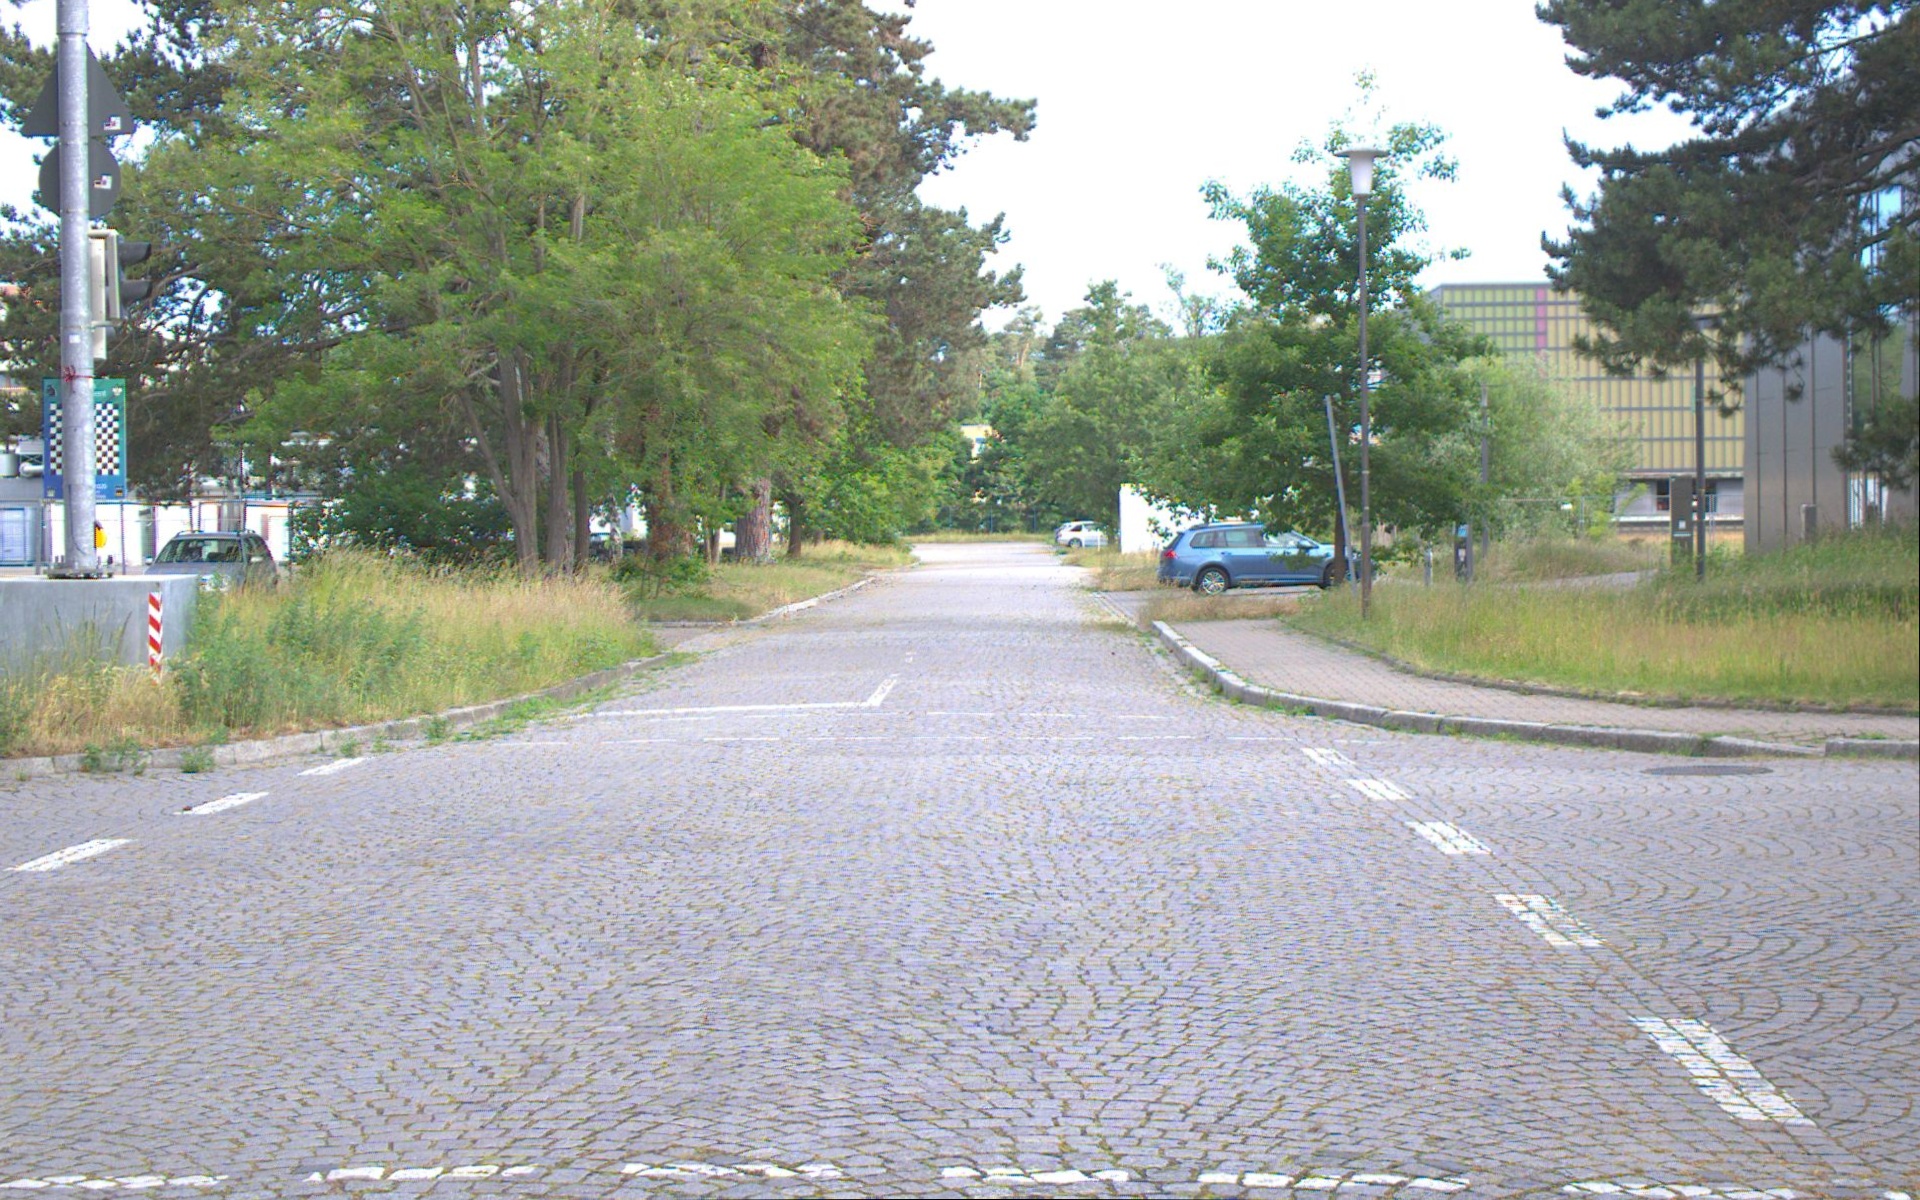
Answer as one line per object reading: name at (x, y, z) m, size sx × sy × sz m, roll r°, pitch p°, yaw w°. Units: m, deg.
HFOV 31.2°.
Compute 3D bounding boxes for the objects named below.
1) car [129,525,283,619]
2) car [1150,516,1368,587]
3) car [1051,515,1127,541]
car at (-12.489, -0.496, 57.142) m, size 1.613 × 1.482 × 4.000 m, roll 0°, pitch 1°, yaw 1°
car at (6.199, -1.018, 71.601) m, size 4.344 × 1.417 × 2.000 m, roll -1°, pitch 2°, yaw -1°
car at (7.065, -3.956, 188.662) m, size 3.986 × 1.393 × 2.000 m, roll -1°, pitch 2°, yaw -4°
